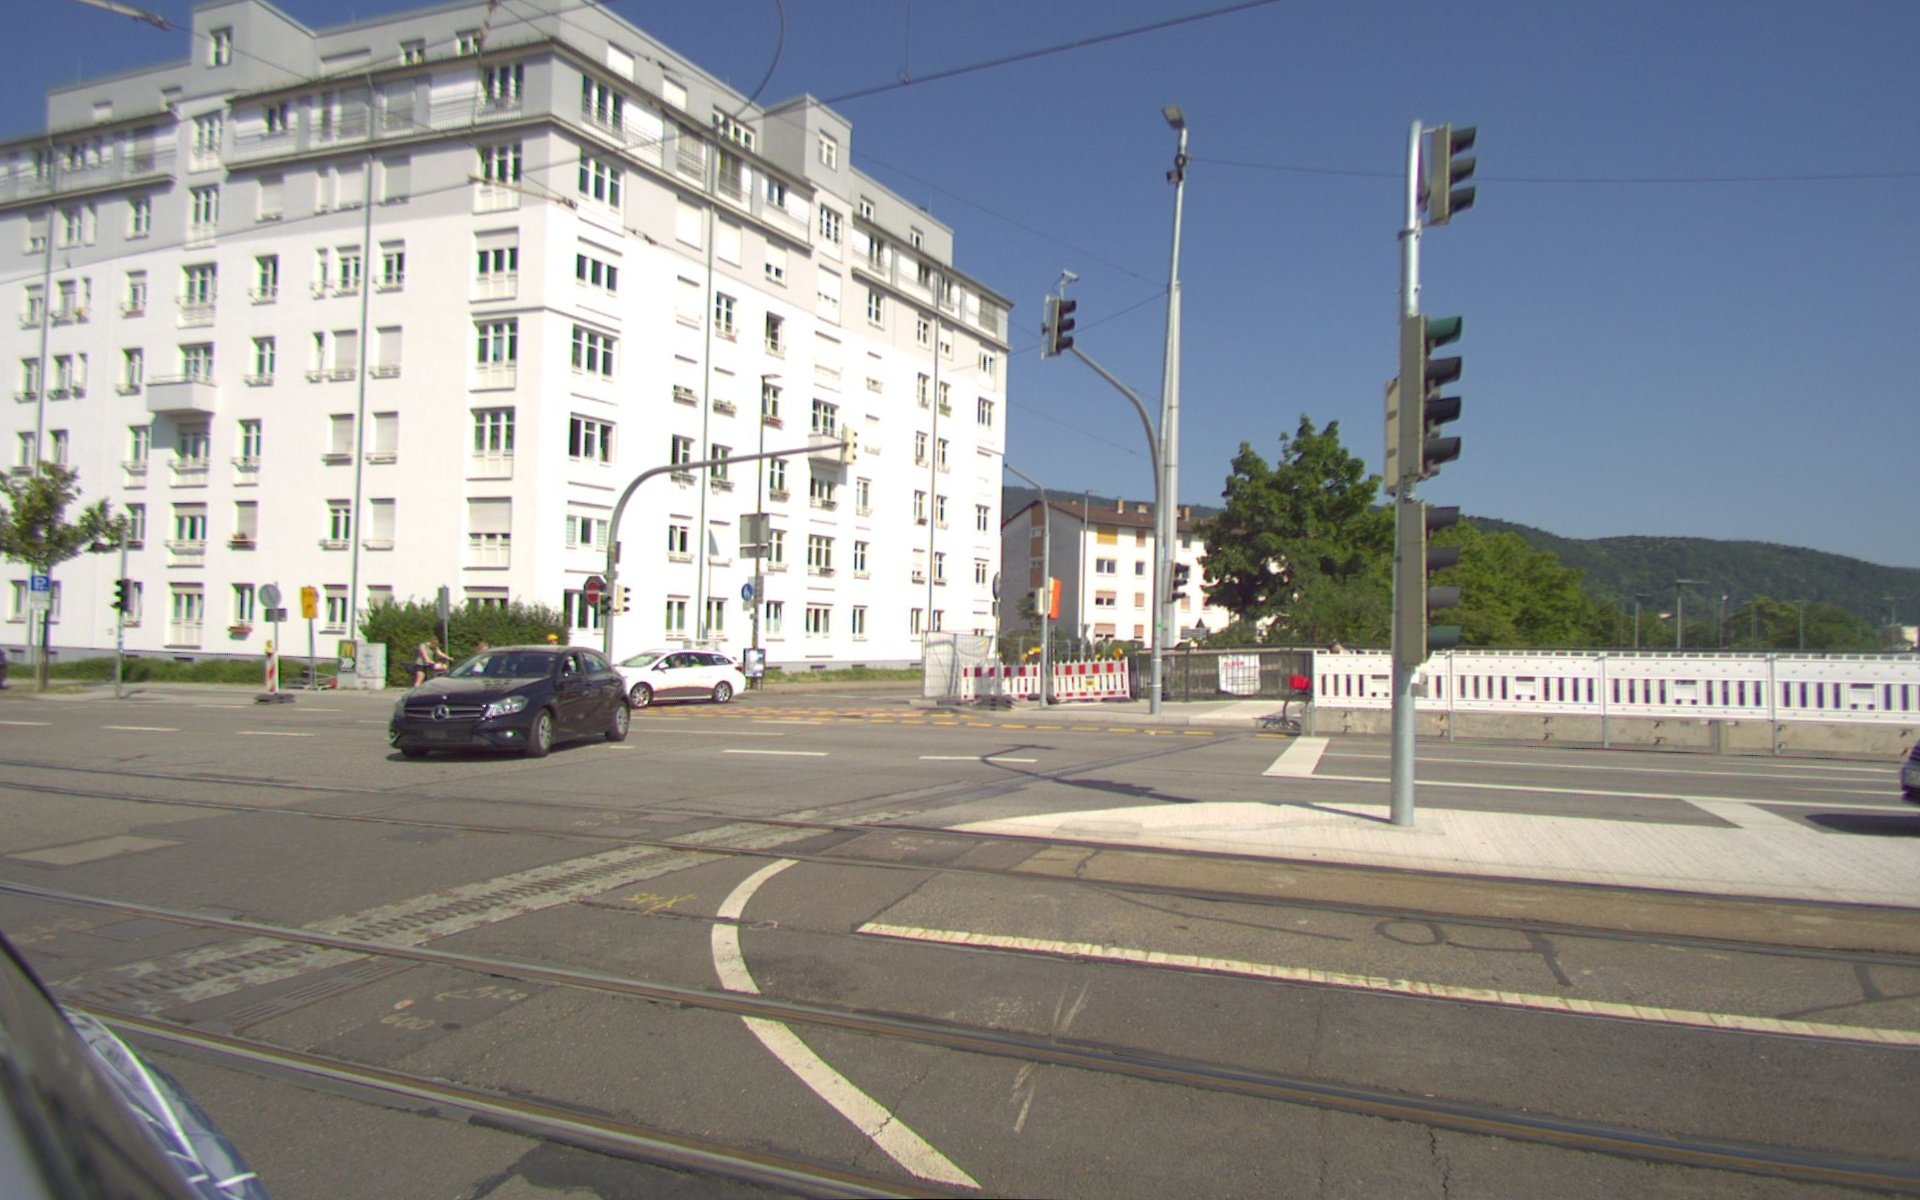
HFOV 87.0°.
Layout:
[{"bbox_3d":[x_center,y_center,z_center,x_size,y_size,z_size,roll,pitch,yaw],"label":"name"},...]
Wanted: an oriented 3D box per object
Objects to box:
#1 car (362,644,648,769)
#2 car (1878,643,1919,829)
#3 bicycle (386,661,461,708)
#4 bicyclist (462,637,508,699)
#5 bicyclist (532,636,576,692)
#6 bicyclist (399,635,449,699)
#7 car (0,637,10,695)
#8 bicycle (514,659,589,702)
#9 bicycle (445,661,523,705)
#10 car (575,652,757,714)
[{"bbox_3d":[-5.918,1.365,13.879,1.681,1.419,4.618,0,-4,2],"label":"car"},{"bbox_3d":[9.549,1.025,6.825,4.612,1.448,1.630,-1,-5,23],"label":"car"},{"bbox_3d":[-13.714,2.151,25.875,1.771,1.108,0.615,0,-2,18],"label":"bicycle"},{"bbox_3d":[-12.405,1.772,26.447,0.906,1.591,0.623,0,-1,4],"label":"bicyclist"},{"bbox_3d":[-10.889,1.705,27.164,0.907,1.489,0.596,0,-2,7],"label":"bicyclist"},{"bbox_3d":[-13.706,1.702,25.887,0.910,1.602,0.620,0,-2,18],"label":"bicyclist"},{"bbox_3d":[-29.021,1.863,28.487,3.708,1.650,1.730,-1,-2,18],"label":"car"},{"bbox_3d":[-10.954,2.143,27.144,1.792,1.108,0.603,0,-2,7],"label":"bicycle"},{"bbox_3d":[-12.420,2.159,26.433,1.763,1.108,0.627,0,-1,4],"label":"bicycle"},{"bbox_3d":[-7.433,2.064,25.987,1.698,1.423,4.433,-2,-4,34],"label":"car"}]
